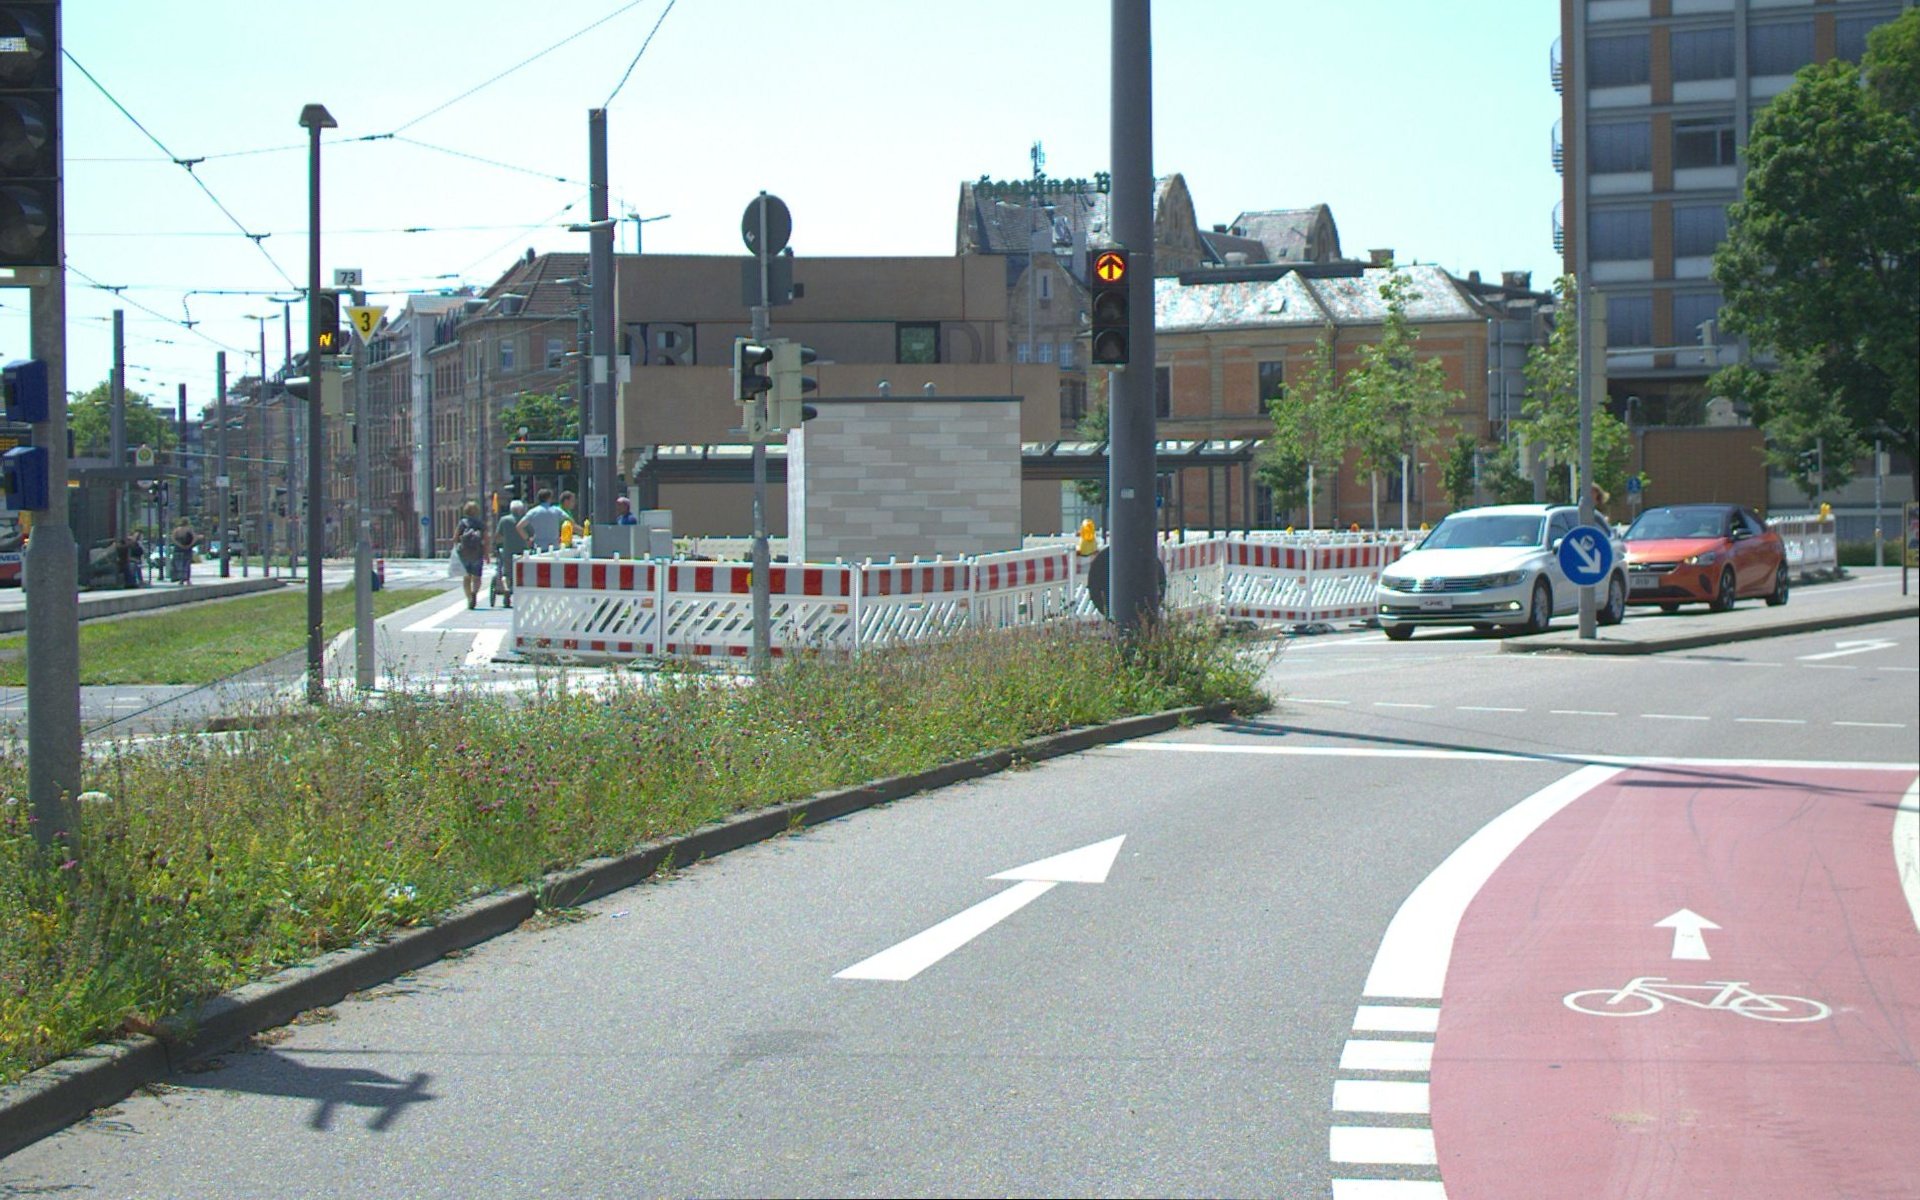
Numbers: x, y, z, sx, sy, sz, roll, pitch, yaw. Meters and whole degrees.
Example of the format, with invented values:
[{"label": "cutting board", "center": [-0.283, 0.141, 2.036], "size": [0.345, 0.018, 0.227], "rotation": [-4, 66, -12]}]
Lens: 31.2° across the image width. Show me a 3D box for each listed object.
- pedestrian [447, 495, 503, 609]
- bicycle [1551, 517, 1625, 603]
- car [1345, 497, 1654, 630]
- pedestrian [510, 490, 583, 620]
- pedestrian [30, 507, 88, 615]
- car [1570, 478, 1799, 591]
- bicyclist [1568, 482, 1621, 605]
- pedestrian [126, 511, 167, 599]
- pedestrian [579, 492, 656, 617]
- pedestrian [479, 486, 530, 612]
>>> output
[{"label": "pedestrian", "center": [-7.298, -0.717, 51.745], "size": [0.726, 1.701, 0.744], "rotation": [0, 0, -17]}, {"label": "bicycle", "center": [8.822, -0.573, 48.268], "size": [0.398, 1.170, 1.767], "rotation": [0, 2, 32]}, {"label": "car", "center": [6.298, -0.424, 39.673], "size": [1.997, 1.433, 4.698], "rotation": [0, 1, 30]}, {"label": "pedestrian", "center": [-5.972, -0.642, 49.656], "size": [0.730, 1.858, 0.765], "rotation": [0, 0, 43]}, {"label": "pedestrian", "center": [-17.704, -0.765, 67.544], "size": [0.899, 2.089, 0.831], "rotation": [-1, 1, -1]}, {"label": "car", "center": [9.702, -0.859, 45.818], "size": [1.734, 1.420, 4.117], "rotation": [0, 1, 31]}, {"label": "bicyclist", "center": [8.900, -0.800, 48.192], "size": [0.568, 1.713, 0.506], "rotation": [1, 2, 35]}, {"label": "pedestrian", "center": [-19.616, -1.096, 82.957], "size": [0.828, 2.089, 0.902], "rotation": [-1, 1, -6]}, {"label": "pedestrian", "center": [-5.074, -0.675, 50.923], "size": [0.976, 1.826, 0.634], "rotation": [-1, 1, -20]}, {"label": "pedestrian", "center": [-7.019, -0.778, 53.007], "size": [0.719, 1.917, 1.074], "rotation": [0, 0, -11]}]
